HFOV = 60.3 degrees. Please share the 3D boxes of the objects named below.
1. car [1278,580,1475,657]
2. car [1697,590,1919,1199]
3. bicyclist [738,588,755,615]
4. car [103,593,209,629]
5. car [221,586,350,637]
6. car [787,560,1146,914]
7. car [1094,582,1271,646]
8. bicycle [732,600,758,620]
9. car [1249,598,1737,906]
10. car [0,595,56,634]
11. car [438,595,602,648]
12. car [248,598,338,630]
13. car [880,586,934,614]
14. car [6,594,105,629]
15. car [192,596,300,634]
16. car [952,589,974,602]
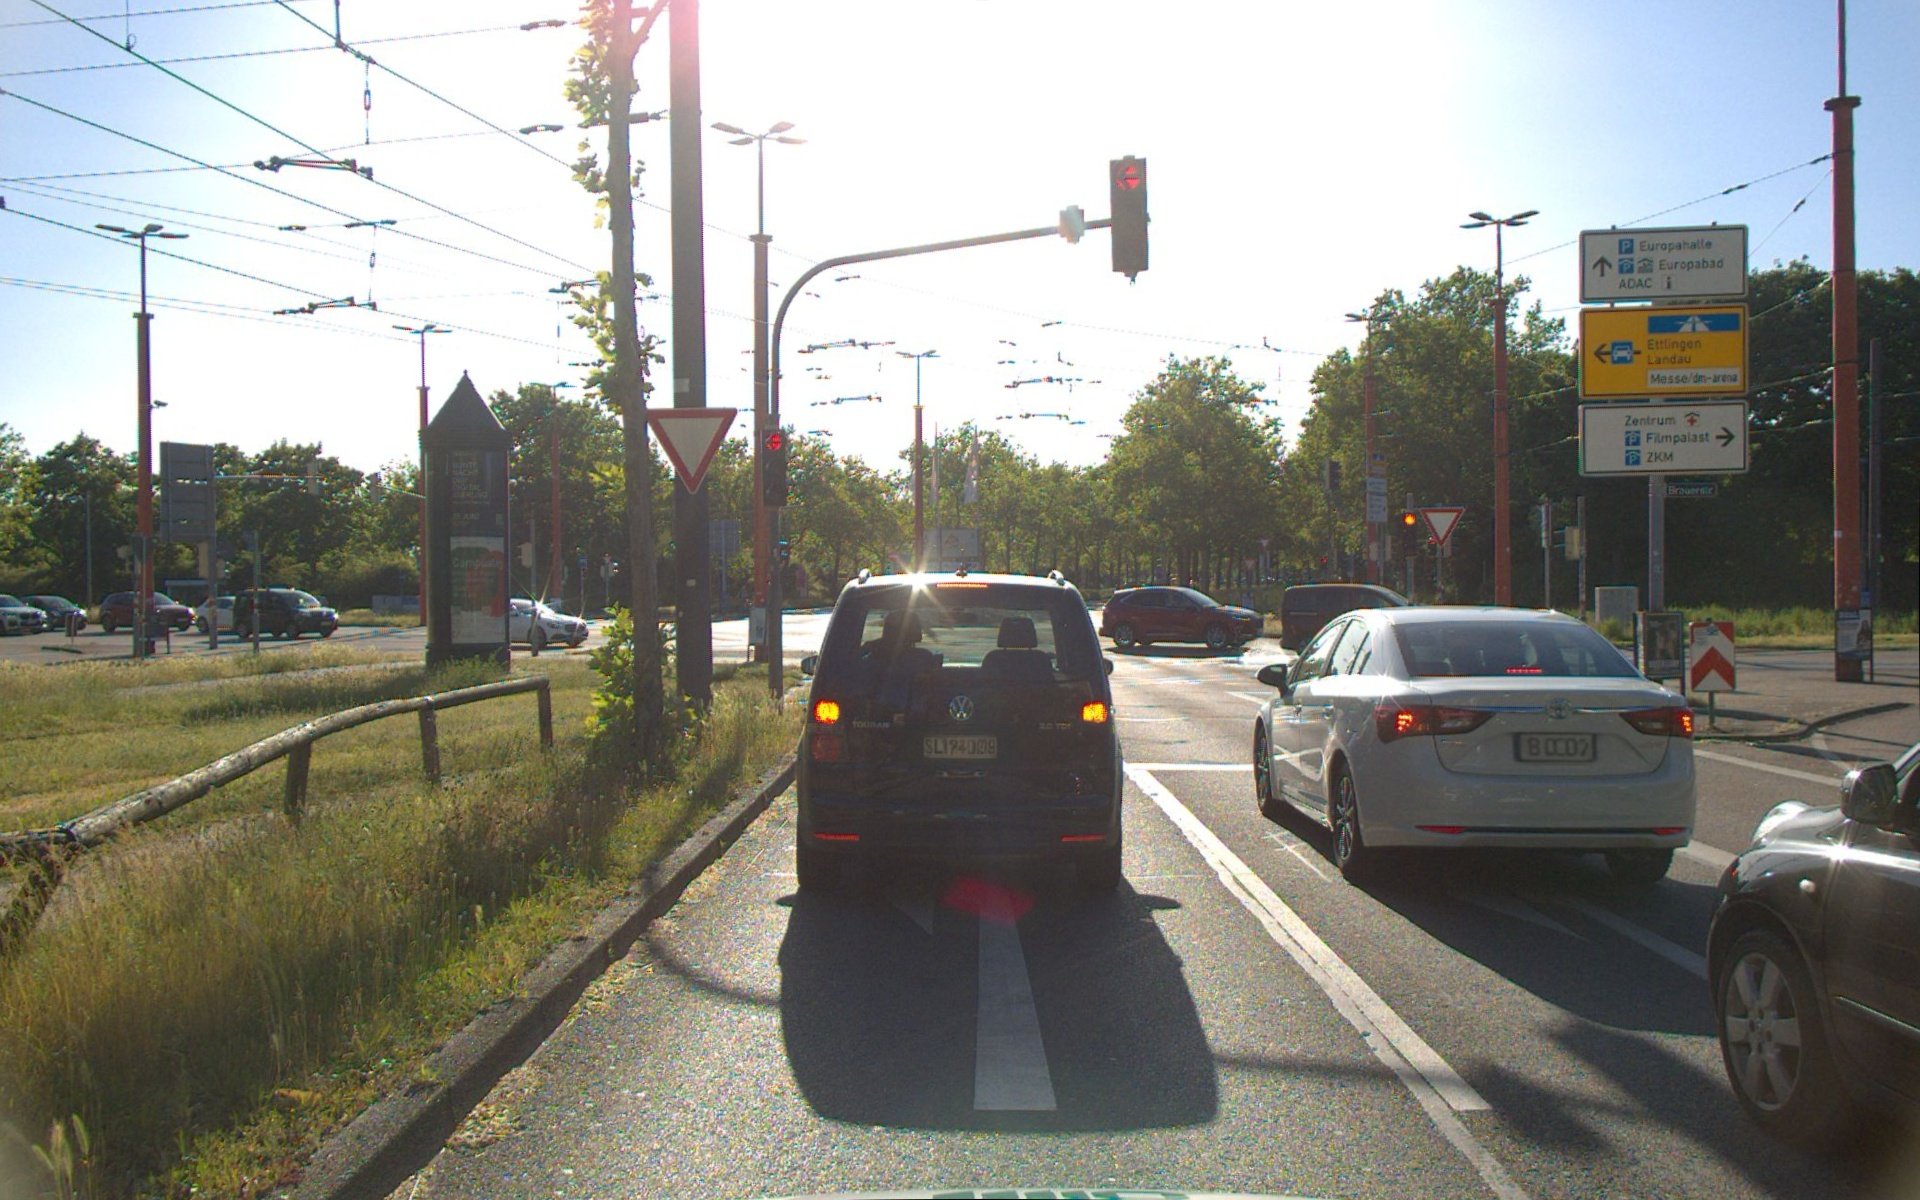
[{"bbox_3d":[9.930,0.423,39.510,4.261,1.762,1.840,0,0,28],"label":"car"},{"bbox_3d":[3.126,0.741,3.502,1.525,1.532,3.515,0,0,-1],"label":"car"},{"bbox_3d":[-12.201,0.089,94.432,0.678,1.483,0.875,0,0,17],"label":"bicyclist"},{"bbox_3d":[-34.336,0.440,70.607,4.275,1.489,1.912,0,0,27],"label":"car"},{"bbox_3d":[-25.316,0.427,62.052,4.687,1.868,1.912,0,0,27],"label":"car"},{"bbox_3d":[0.006,0.641,9.857,1.702,1.670,3.999,0,0,-1],"label":"car"},{"bbox_3d":[6.078,0.364,45.340,4.463,1.697,1.840,0,0,28],"label":"car"},{"bbox_3d":[-12.232,0.564,94.212,0.719,1.109,1.962,0,0,18],"label":"bicycle"},{"bbox_3d":[2.947,0.738,10.101,1.679,1.480,4.144,0,0,0],"label":"car"},{"bbox_3d":[-40.895,0.597,70.468,4.687,1.626,1.912,0,0,27],"label":"car"},{"bbox_3d":[-13.748,0.644,51.612,4.817,1.602,1.999,0,0,25],"label":"car"},{"bbox_3d":[-35.118,0.710,87.134,4.365,1.624,1.998,0,0,26],"label":"car"},{"bbox_3d":[-3.260,-0.024,103.212,1.951,1.714,4.831,0,0,17],"label":"car"},{"bbox_3d":[-40.004,0.497,73.154,3.963,1.489,1.912,0,0,26],"label":"car"},{"bbox_3d":[-29.347,0.599,67.984,4.127,1.489,1.912,0,0,27],"label":"car"},{"bbox_3d":[0.291,-0.463,165.511,1.622,1.333,3.818,0,0,9],"label":"car"}]
